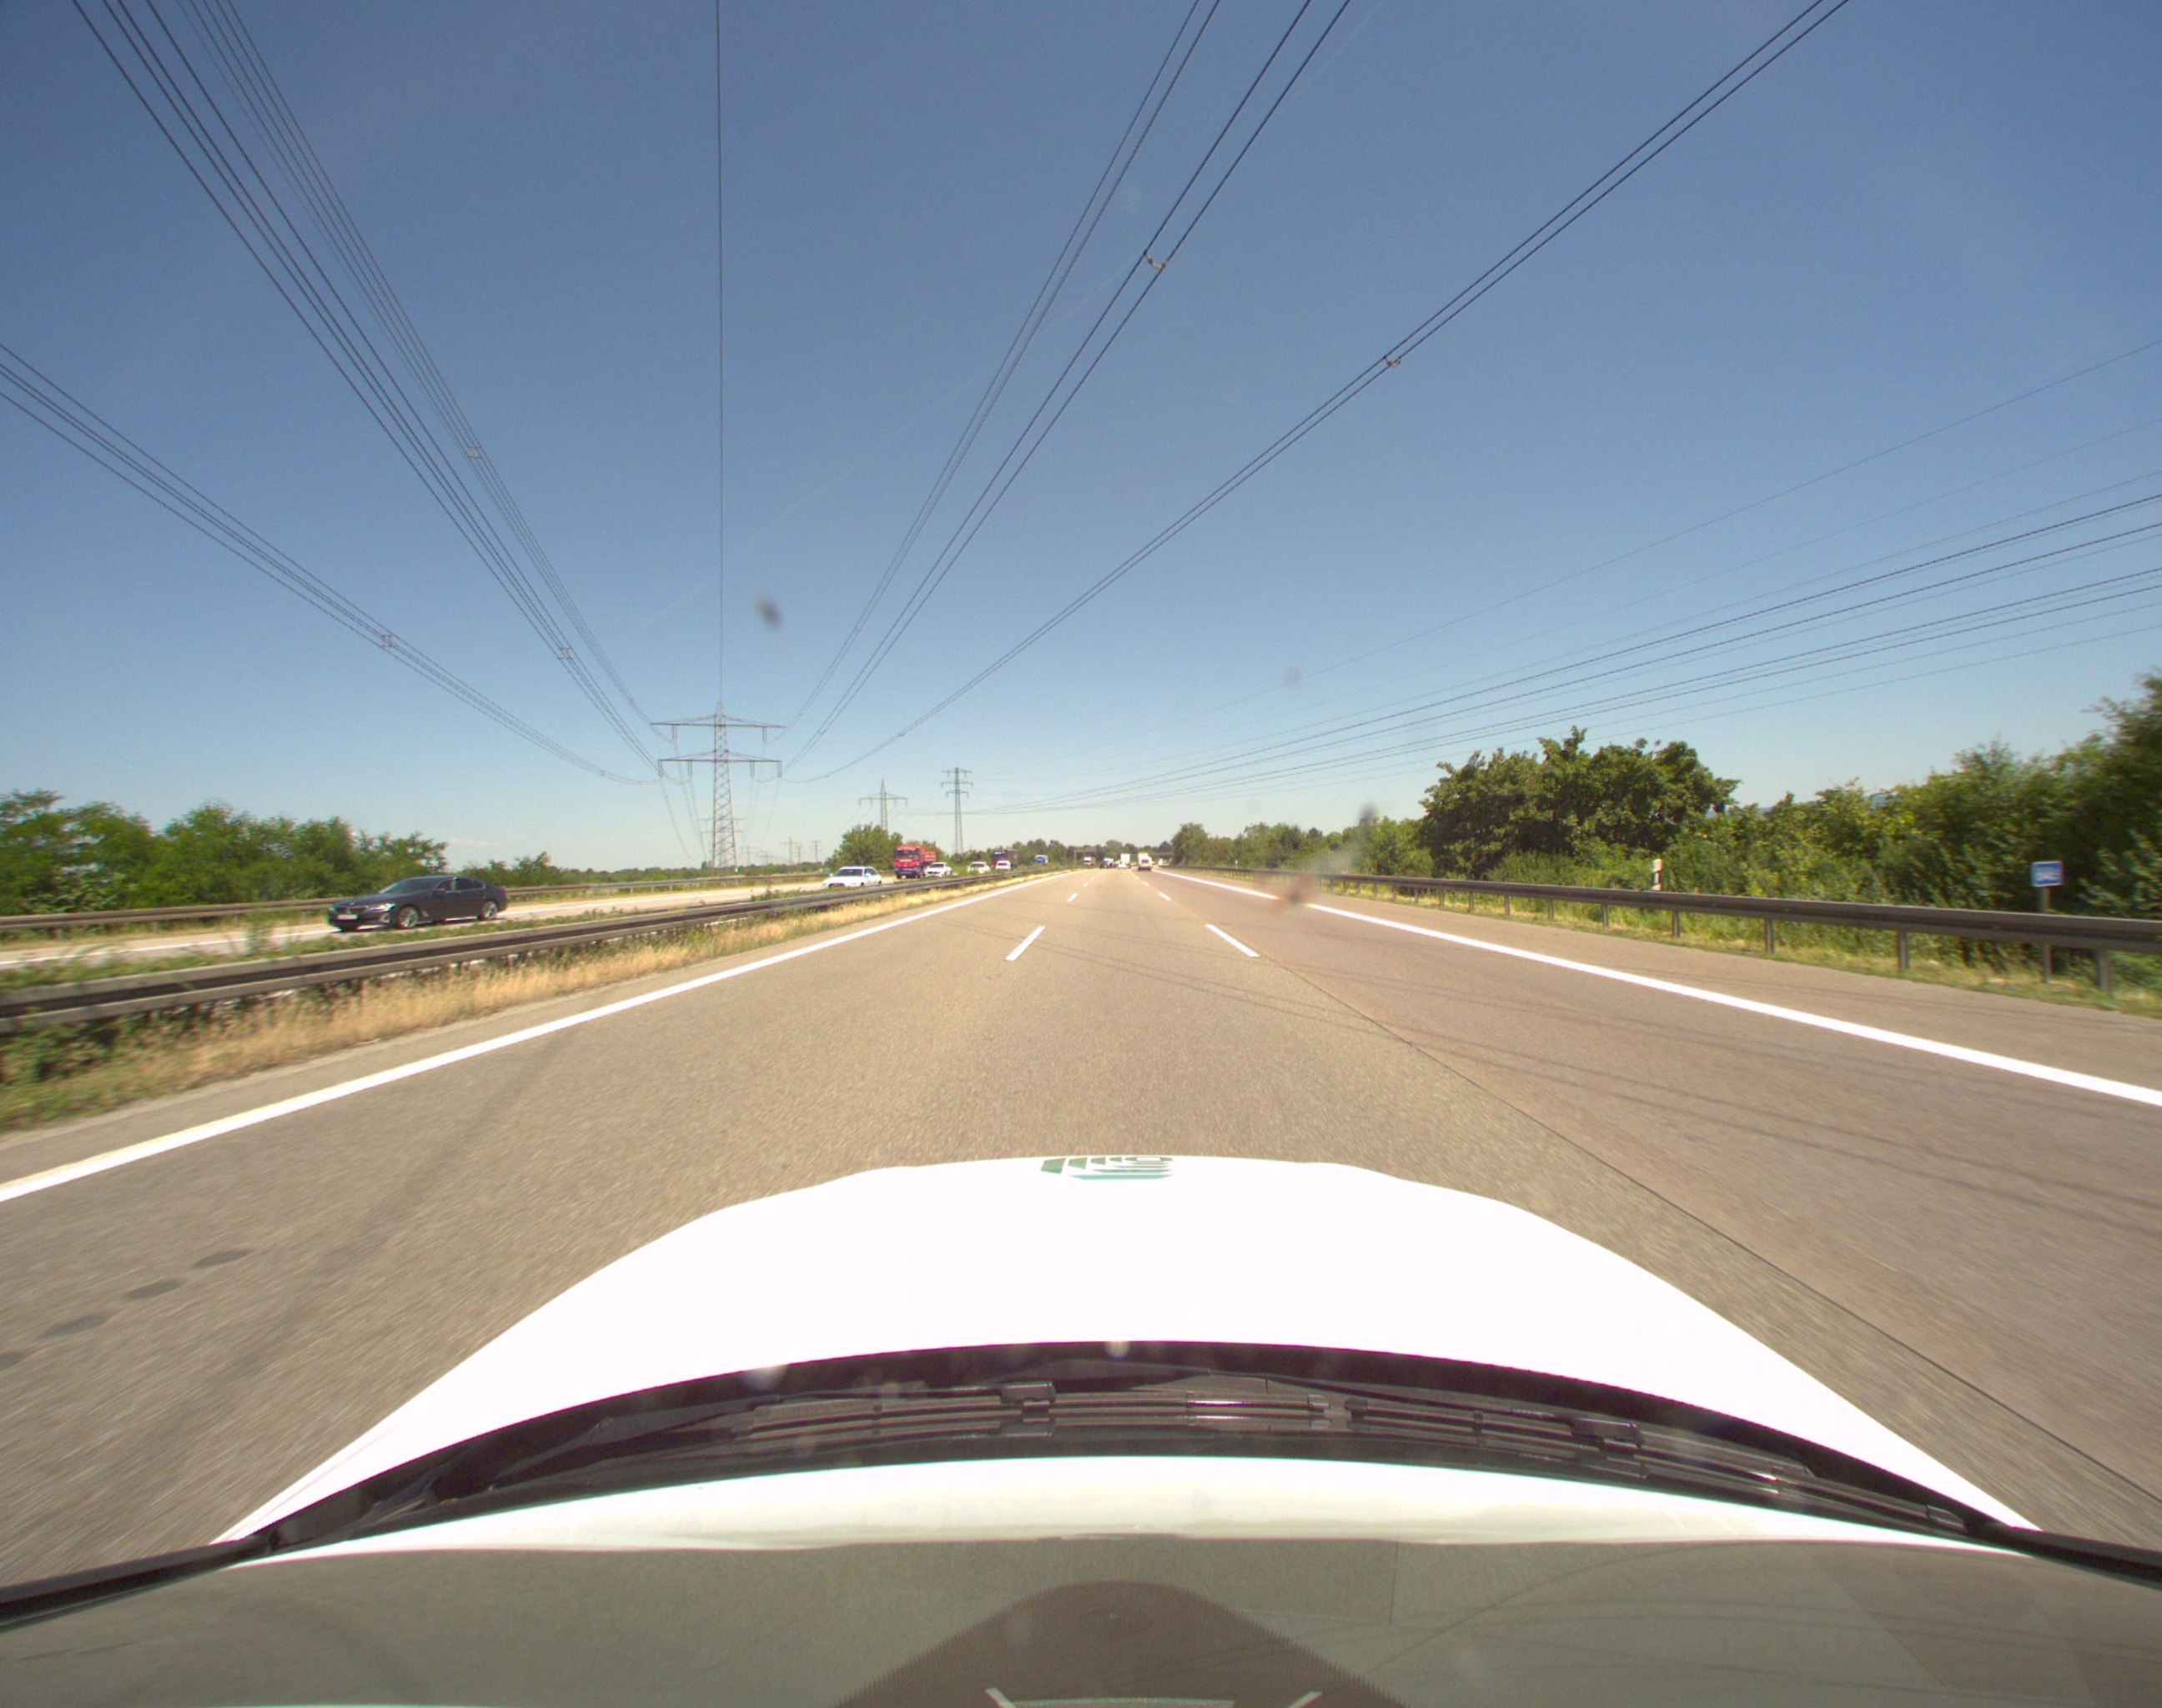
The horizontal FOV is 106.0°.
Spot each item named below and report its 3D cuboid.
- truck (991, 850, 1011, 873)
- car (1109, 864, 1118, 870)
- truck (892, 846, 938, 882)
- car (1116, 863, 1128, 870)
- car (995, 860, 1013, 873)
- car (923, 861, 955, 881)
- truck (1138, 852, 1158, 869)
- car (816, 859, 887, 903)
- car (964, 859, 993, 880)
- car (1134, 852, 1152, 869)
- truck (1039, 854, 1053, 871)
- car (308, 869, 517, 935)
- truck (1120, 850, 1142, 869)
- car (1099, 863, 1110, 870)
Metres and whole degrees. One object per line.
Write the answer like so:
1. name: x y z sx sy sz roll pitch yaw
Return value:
1. truck: -14.253 1.394 144.837 2.637 3.983 5.995 0 -1 3
2. car: 9.033 3.702 228.750 1.816 1.547 4.333 0 -1 12
3. truck: -17.116 0.943 84.487 2.759 3.527 8.538 0 0 2
4. car: 8.906 2.746 176.749 1.814 1.547 4.337 0 -1 16
5. car: -10.992 1.750 116.757 1.963 1.773 4.371 0 0 2
6. car: -13.139 1.532 75.718 1.986 1.761 4.537 0 0 2
7. truck: 17.995 1.620 218.096 3.159 4.304 16.071 0 0 12
8. car: -11.273 1.289 40.386 1.986 2.013 4.923 0 0 2
9. car: -9.827 1.465 78.515 1.986 1.853 4.537 0 0 2
10. car: 9.187 0.964 121.036 2.433 2.321 5.323 -2 0 1
11. truck: -8.819 2.061 204.413 2.443 3.976 9.677 -3 0 3
12. car: -19.728 1.341 24.433 1.987 1.661 5.088 -2 -1 0
13. truck: 13.818 1.438 224.468 3.642 5.018 16.070 0 0 12
14. car: 5.310 2.765 183.523 1.816 1.547 4.333 0 -1 12
